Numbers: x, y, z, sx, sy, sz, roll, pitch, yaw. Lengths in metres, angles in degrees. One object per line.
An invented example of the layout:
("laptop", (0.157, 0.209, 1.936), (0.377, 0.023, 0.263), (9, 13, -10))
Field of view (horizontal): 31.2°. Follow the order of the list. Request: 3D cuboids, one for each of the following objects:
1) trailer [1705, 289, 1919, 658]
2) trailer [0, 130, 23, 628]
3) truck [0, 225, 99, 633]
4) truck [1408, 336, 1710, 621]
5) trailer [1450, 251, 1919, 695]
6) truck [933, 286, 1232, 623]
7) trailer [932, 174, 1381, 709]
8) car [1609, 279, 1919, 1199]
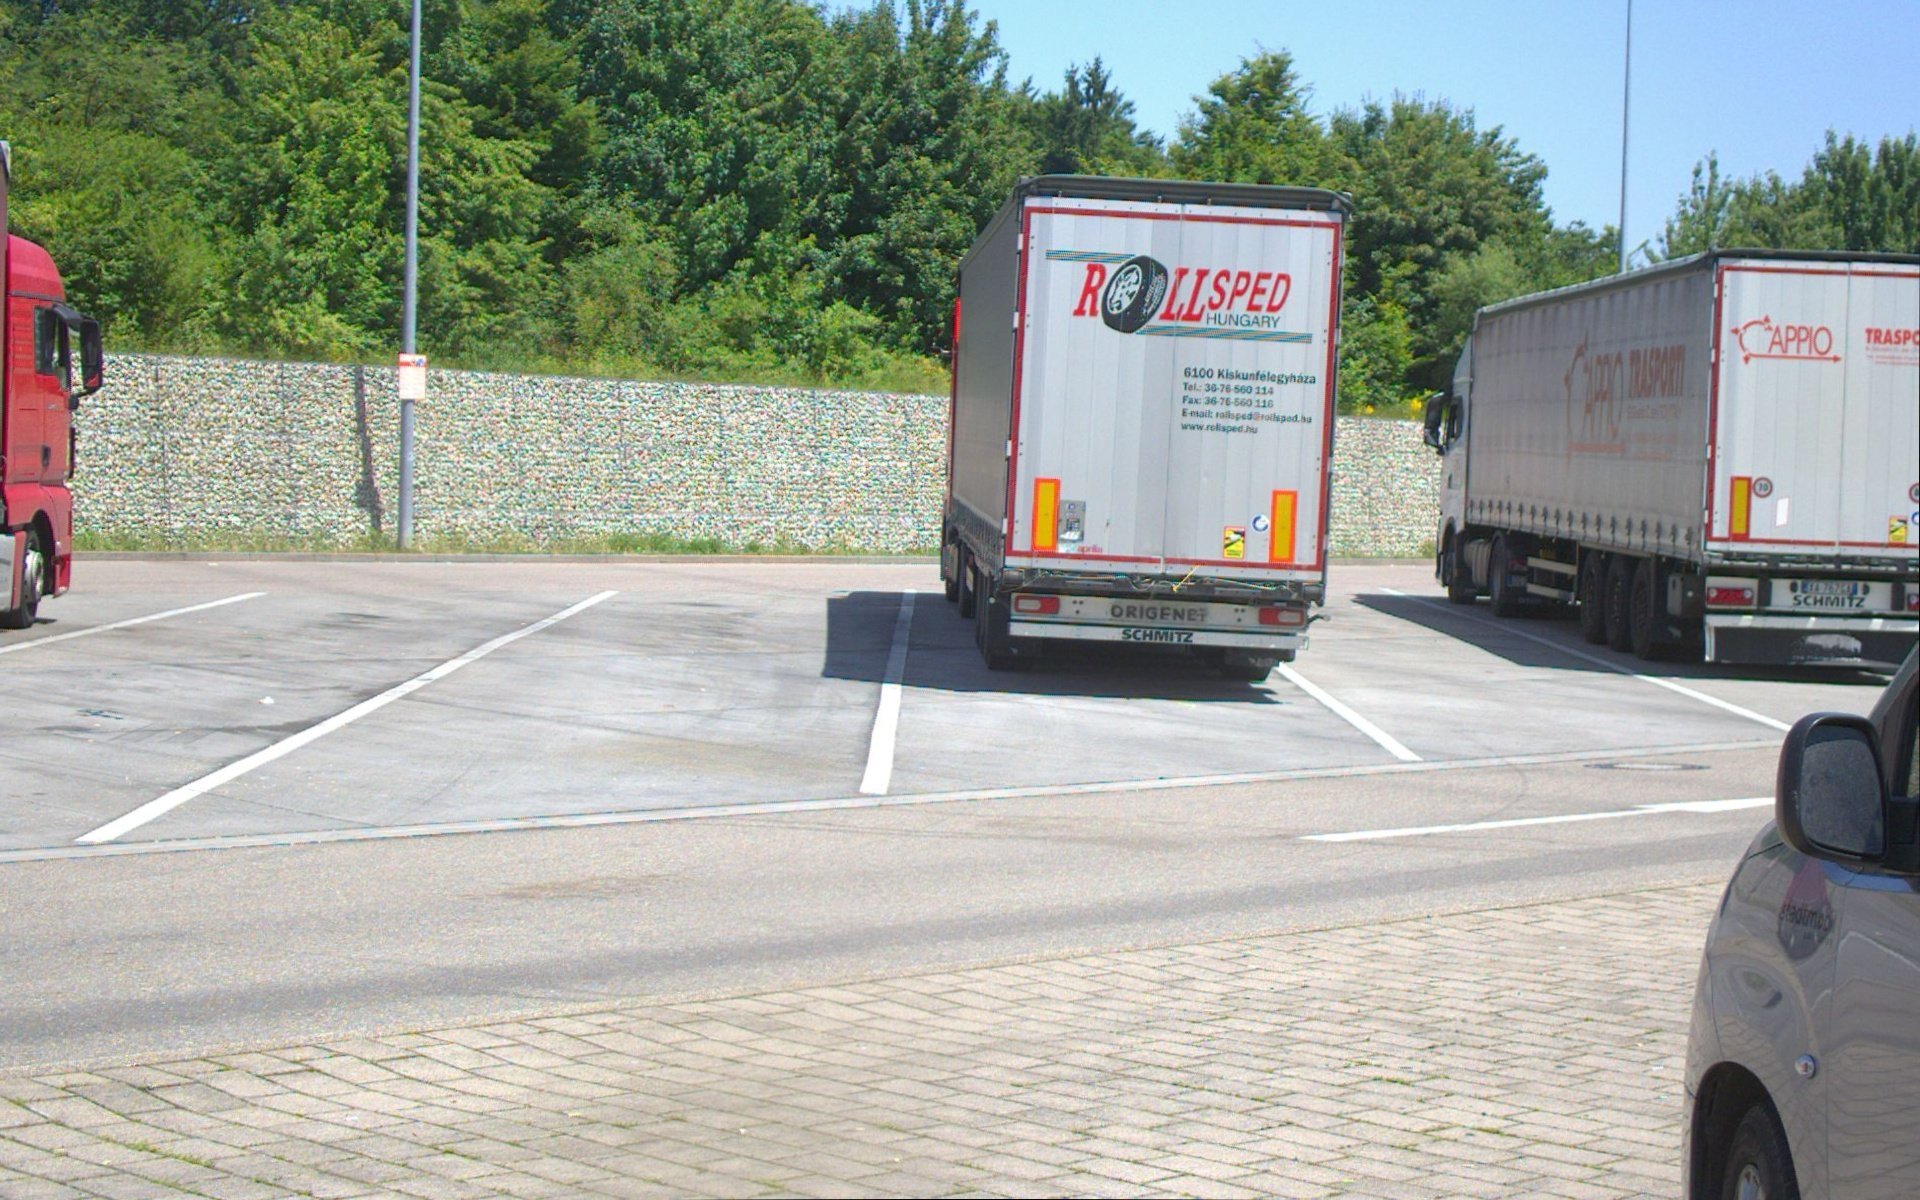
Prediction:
("trailer", (11.755, -1.465, 39.775), (2.811, 3.976, 14.396), (2, 3, -1))
("trailer", (-9.193, -1.492, 21.560), (2.791, 4.071, 14.133), (2, 3, -1))
("truck", (-9.237, -1.448, 28.134), (2.851, 3.316, 5.900), (2, 3, -1))
("truck", (8.021, -1.708, 46.823), (2.862, 3.509, 5.900), (2, 3, -1))
("trailer", (8.114, -1.532, 38.723), (2.811, 3.976, 14.396), (2, 3, -1))
("truck", (1.311, -1.742, 40.502), (3.103, 3.554, 5.900), (2, 3, -1))
("trailer", (1.448, -1.600, 33.610), (3.133, 3.976, 14.397), (2, 3, -1))
("car", (2.152, 0.579, 3.842), (1.869, 1.857, 4.177), (2, 2, -2))
